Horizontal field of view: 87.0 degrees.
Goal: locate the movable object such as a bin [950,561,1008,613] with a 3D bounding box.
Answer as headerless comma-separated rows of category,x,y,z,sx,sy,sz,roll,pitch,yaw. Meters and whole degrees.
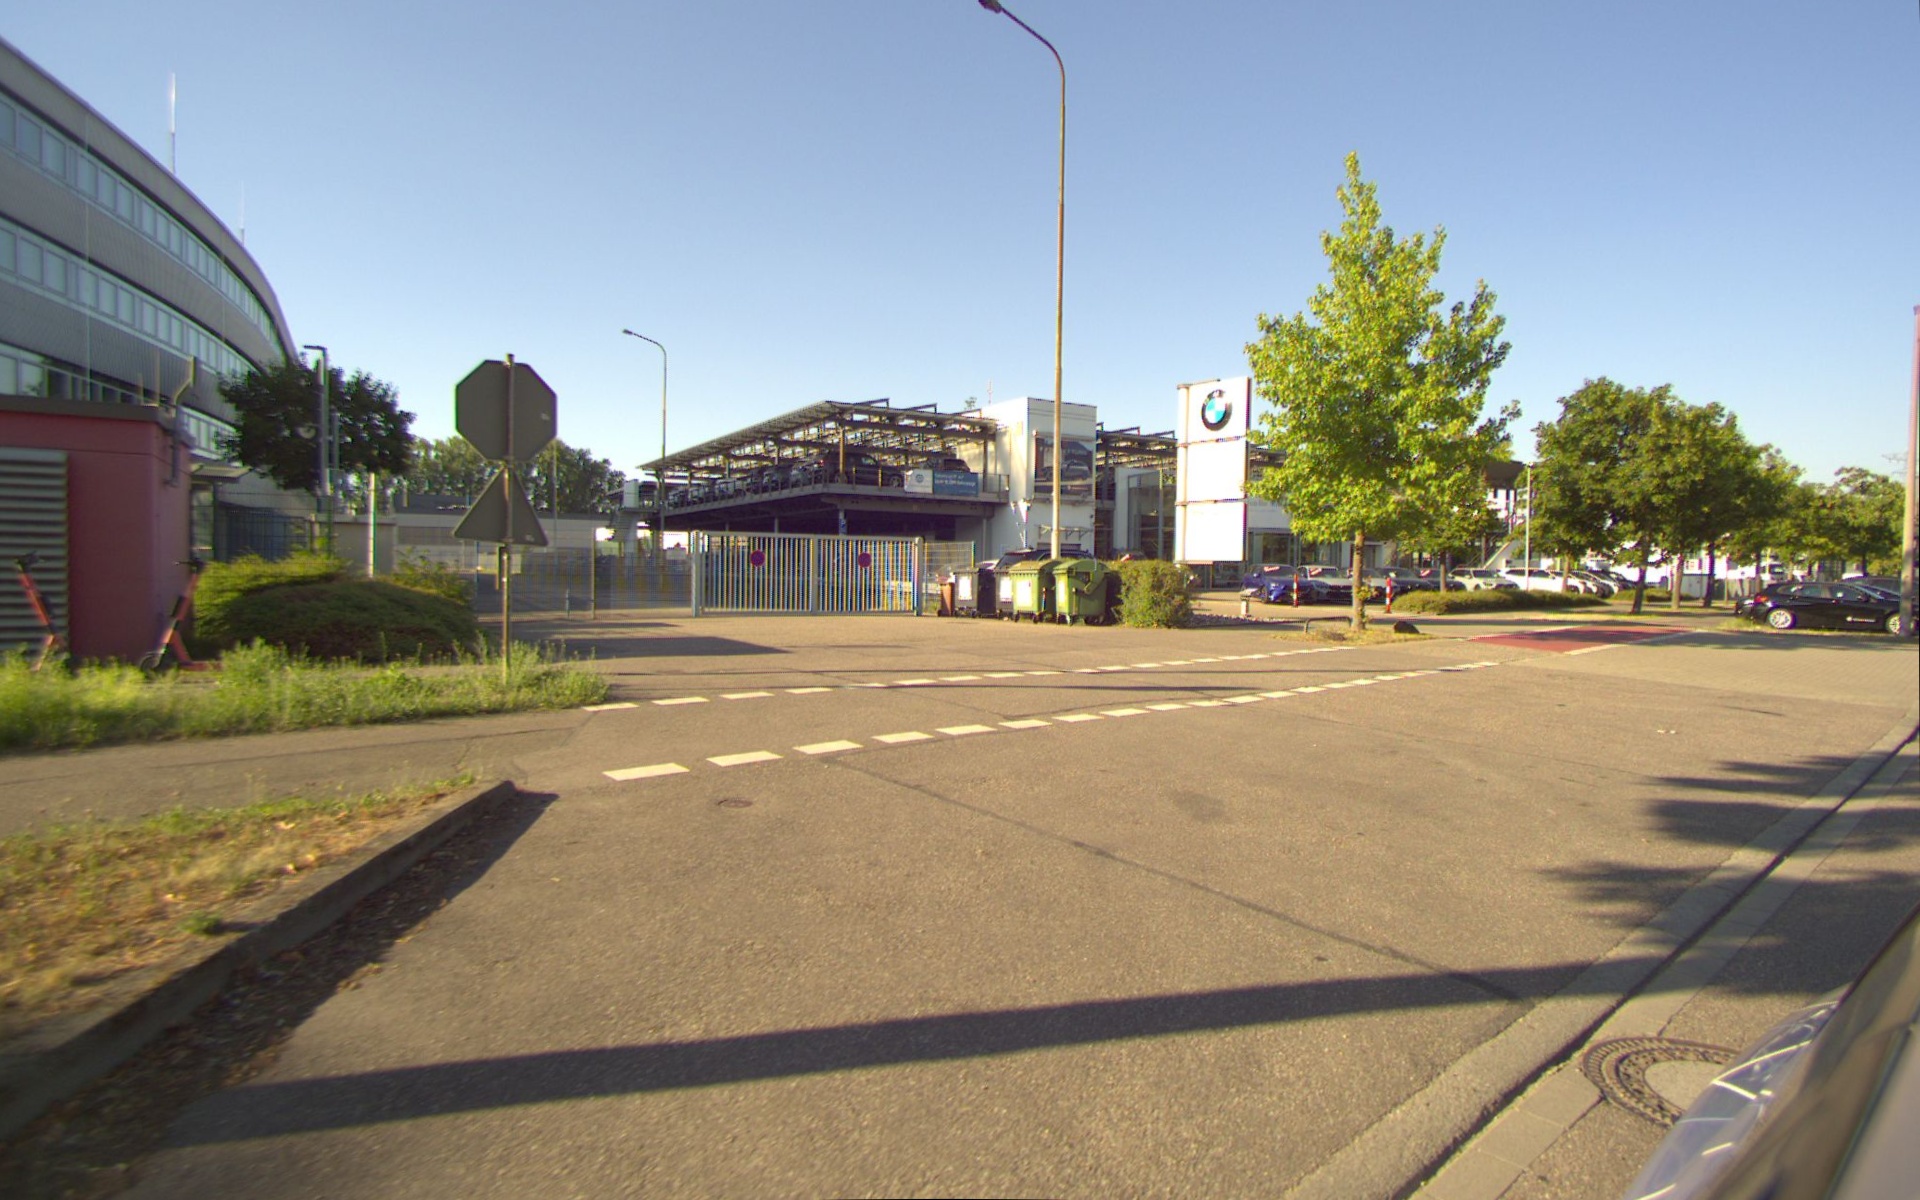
movable object such as a bin,0.494,-0.347,26.271,1.019,1.283,1.120,0,2,-38

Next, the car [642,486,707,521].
car,-20.572,-6.894,72.885,4.120,2.128,2.000,0,-1,-33

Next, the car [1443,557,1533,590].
car,27.529,-1.446,52.980,1.962,1.590,5.193,1,2,0

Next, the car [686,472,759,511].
car,-15.250,-6.929,65.047,4.120,2.128,2.000,0,-1,-33

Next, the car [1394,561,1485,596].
car,22.545,-1.061,47.795,1.962,1.481,4.791,1,2,0

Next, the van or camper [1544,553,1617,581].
van or camper,78.092,-4.173,127.628,2.363,3.369,8.159,1,2,-18

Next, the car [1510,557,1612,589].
car,34.057,-1.583,57.484,4.546,1.593,1.989,3,3,19

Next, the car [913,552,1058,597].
car,0.880,-0.866,34.220,4.468,1.449,2.041,0,2,-29

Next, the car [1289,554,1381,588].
car,21.569,-1.710,58.267,4.748,1.795,1.980,2,3,29

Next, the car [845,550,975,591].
car,-1.876,-1.121,38.228,4.468,1.449,2.041,0,2,-29

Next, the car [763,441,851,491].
car,-8.026,-6.978,53.171,4.120,2.128,2.000,0,-1,-33

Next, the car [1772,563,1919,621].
car,30.018,-0.293,33.383,2.153,1.772,4.705,0,2,-40

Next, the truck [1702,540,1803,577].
truck,82.473,-4.345,105.525,3.051,3.565,8.270,1,2,-9

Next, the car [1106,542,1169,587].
car,8.523,-1.731,48.857,1.960,2.038,4.188,1,2,-4

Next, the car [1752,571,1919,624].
car,26.035,-0.108,29.453,2.001,1.421,4.484,-1,3,-45

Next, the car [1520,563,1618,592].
car,35.893,-1.340,59.757,4.545,1.593,1.989,1,2,19

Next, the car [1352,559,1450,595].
car,19.528,-1.067,45.046,1.960,1.481,4.796,1,2,-4

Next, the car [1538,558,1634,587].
car,38.231,-1.714,61.937,4.546,1.593,1.989,3,3,19

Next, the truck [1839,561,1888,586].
truck,108.351,-3.169,121.335,5.851,2.753,2.551,0,2,-29

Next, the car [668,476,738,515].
car,-17.076,-6.918,67.318,4.120,2.128,2.000,0,-1,-33

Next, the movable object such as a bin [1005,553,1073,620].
movable object such as a bin,1.832,-0.338,23.614,1.019,1.502,1.214,0,2,-38

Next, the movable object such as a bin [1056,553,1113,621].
movable object such as a bin,2.709,-0.283,22.095,1.016,1.434,0.850,0,0,-12

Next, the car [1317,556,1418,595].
car,16.957,-1.073,42.391,1.960,1.481,4.796,1,2,-4

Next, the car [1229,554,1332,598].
car,11.772,-0.940,37.589,1.960,1.481,4.796,1,3,-4

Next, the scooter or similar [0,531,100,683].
scooter or similar,-8.357,0.052,8.769,1.363,1.287,0.521,-1,2,-40

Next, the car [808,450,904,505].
car,-4.957,-5.788,48.246,4.120,2.128,2.000,0,-1,-33

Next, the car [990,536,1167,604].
car,3.495,-0.874,29.753,4.876,1.850,2.041,0,2,-29

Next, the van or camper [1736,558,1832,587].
van or camper,91.677,-3.119,112.819,2.881,2.935,8.031,1,2,-14

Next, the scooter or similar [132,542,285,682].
scooter or similar,-7.369,0.091,9.943,1.179,1.287,0.521,-1,2,-40

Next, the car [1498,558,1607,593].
car,32.351,-1.368,55.455,4.668,1.711,2.398,3,3,19

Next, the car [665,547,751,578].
car,-14.712,-2.184,59.108,4.473,1.694,2.039,0,2,-34

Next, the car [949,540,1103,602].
car,2.096,-0.918,31.994,4.469,1.850,2.041,-1,2,-29

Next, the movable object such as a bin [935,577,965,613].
movable object such as a bin,-0.267,-0.148,27.070,0.593,0.932,0.507,0,2,-35

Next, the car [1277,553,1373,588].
car,20.073,-1.658,55.703,4.748,1.795,1.980,2,3,29

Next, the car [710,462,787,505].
car,-12.654,-6.947,60.627,4.120,2.128,2.000,0,-1,-33

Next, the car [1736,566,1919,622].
car,27.168,-0.237,31.517,2.000,1.569,4.487,-1,2,-43

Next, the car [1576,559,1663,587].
car,44.772,-1.833,68.815,4.547,1.686,1.988,3,3,19

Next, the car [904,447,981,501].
car,-0.922,-6.213,50.394,1.961,2.128,4.203,0,0,-33

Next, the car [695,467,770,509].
car,-14.156,-6.937,63.045,4.120,2.128,2.000,0,-1,-33

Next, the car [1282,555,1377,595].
car,14.440,-1.015,39.858,2.008,1.481,4.791,1,2,0

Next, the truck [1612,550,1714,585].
truck,80.319,-3.773,115.915,3.227,3.689,10.141,1,2,-10
